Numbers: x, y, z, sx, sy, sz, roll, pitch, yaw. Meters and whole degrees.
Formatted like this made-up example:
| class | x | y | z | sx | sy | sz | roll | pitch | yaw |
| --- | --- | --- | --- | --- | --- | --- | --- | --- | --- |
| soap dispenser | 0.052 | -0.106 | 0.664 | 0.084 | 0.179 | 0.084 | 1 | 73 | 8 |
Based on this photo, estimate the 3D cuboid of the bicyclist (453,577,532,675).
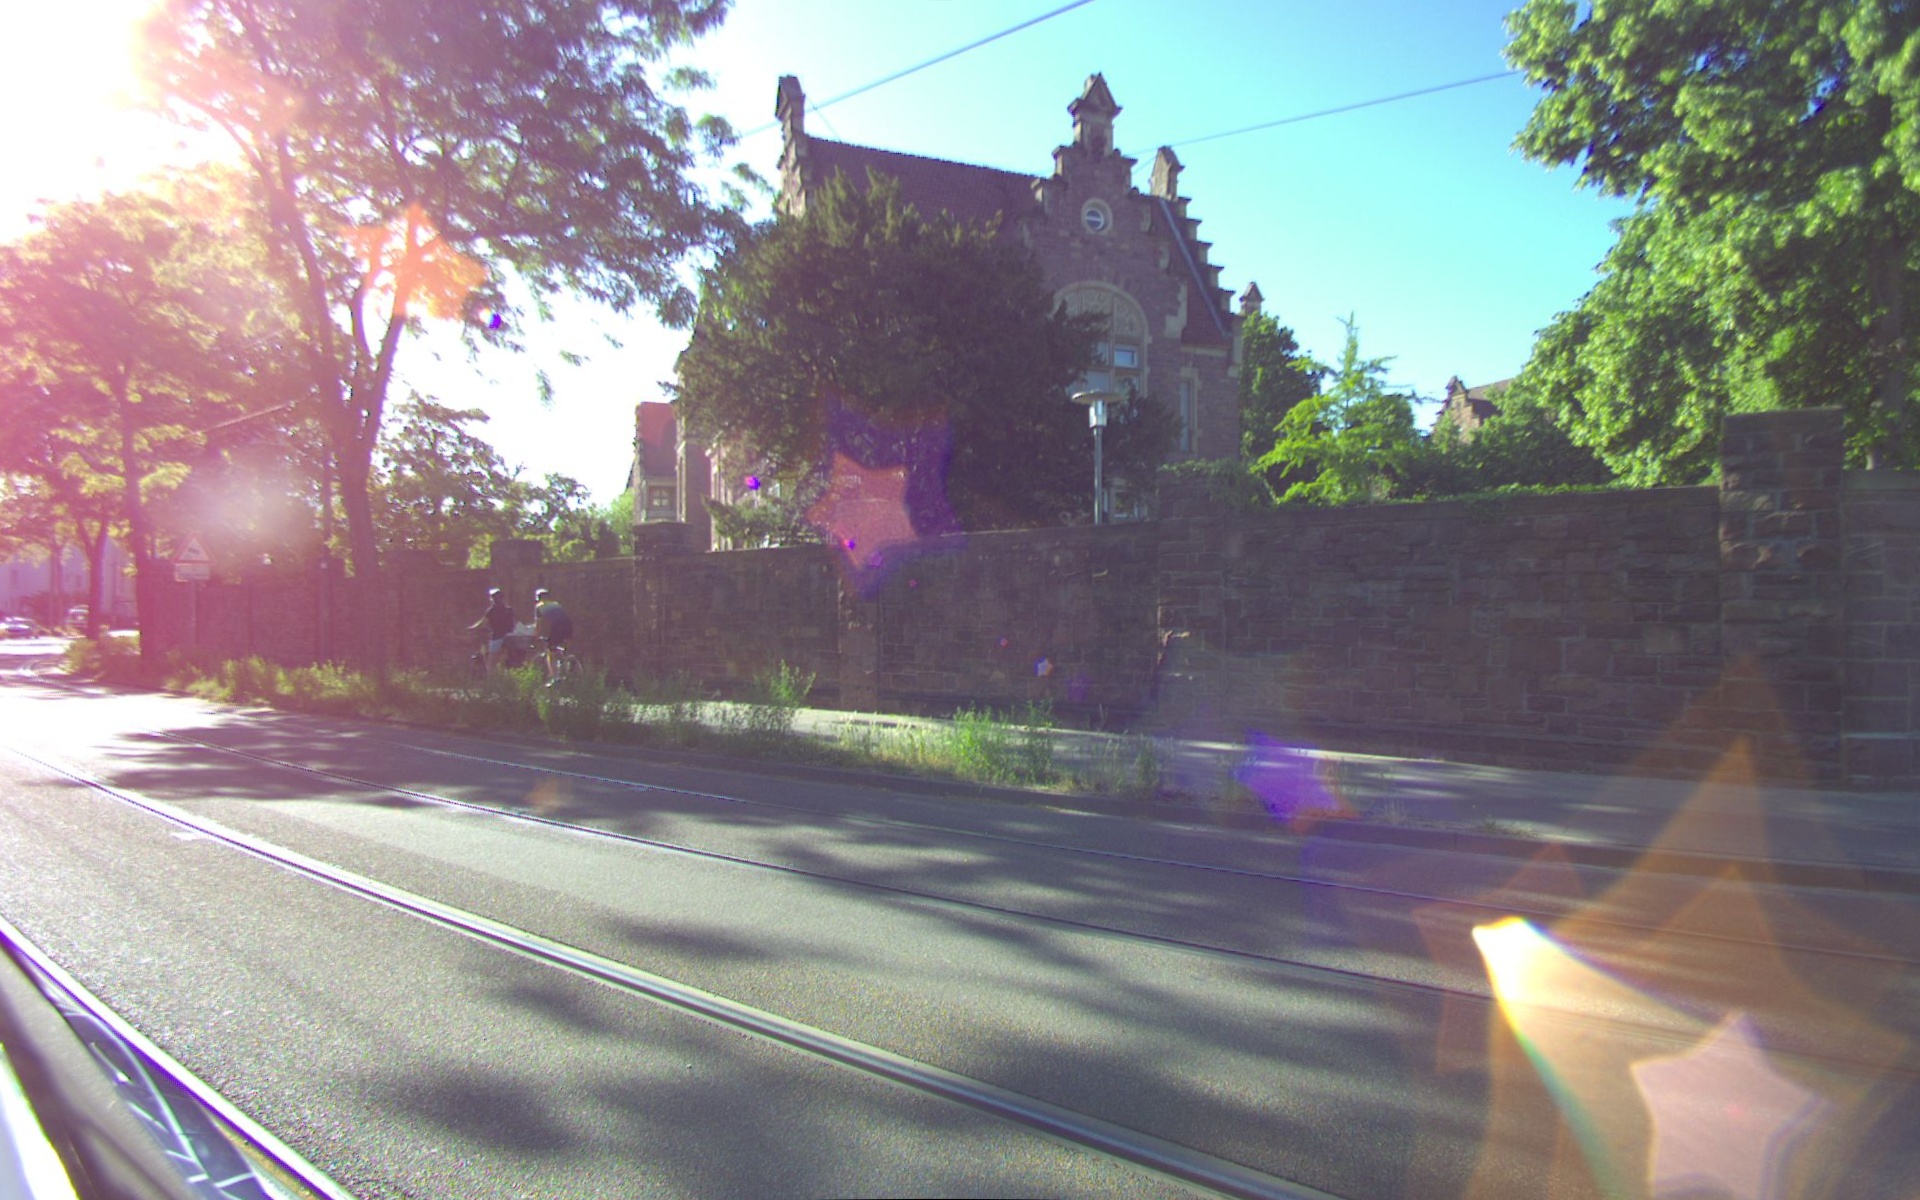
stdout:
| class | x | y | z | sx | sy | sz | roll | pitch | yaw |
| --- | --- | --- | --- | --- | --- | --- | --- | --- | --- |
| bicyclist | -7.299 | 0.407 | 15.791 | 1.150 | 1.470 | 0.647 | -1 | -1 | 37 |

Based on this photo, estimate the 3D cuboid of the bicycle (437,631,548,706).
| class | x | y | z | sx | sy | sz | roll | pitch | yaw |
| --- | --- | --- | --- | --- | --- | --- | --- | --- | --- |
| bicycle | -7.310 | 1.038 | 15.795 | 2.060 | 1.097 | 0.678 | -1 | -1 | 37 |

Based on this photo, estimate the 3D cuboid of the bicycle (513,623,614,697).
| class | x | y | z | sx | sy | sz | roll | pitch | yaw |
| --- | --- | --- | --- | --- | --- | --- | --- | --- | --- |
| bicycle | -6.639 | 0.976 | 16.918 | 1.852 | 1.097 | 0.678 | 2 | 0 | 37 |

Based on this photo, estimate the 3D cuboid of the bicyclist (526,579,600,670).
| class | x | y | z | sx | sy | sz | roll | pitch | yaw |
| --- | --- | --- | --- | --- | --- | --- | --- | --- | --- |
| bicyclist | -6.648 | 0.401 | 16.939 | 1.150 | 1.470 | 0.647 | -1 | -1 | 37 |
